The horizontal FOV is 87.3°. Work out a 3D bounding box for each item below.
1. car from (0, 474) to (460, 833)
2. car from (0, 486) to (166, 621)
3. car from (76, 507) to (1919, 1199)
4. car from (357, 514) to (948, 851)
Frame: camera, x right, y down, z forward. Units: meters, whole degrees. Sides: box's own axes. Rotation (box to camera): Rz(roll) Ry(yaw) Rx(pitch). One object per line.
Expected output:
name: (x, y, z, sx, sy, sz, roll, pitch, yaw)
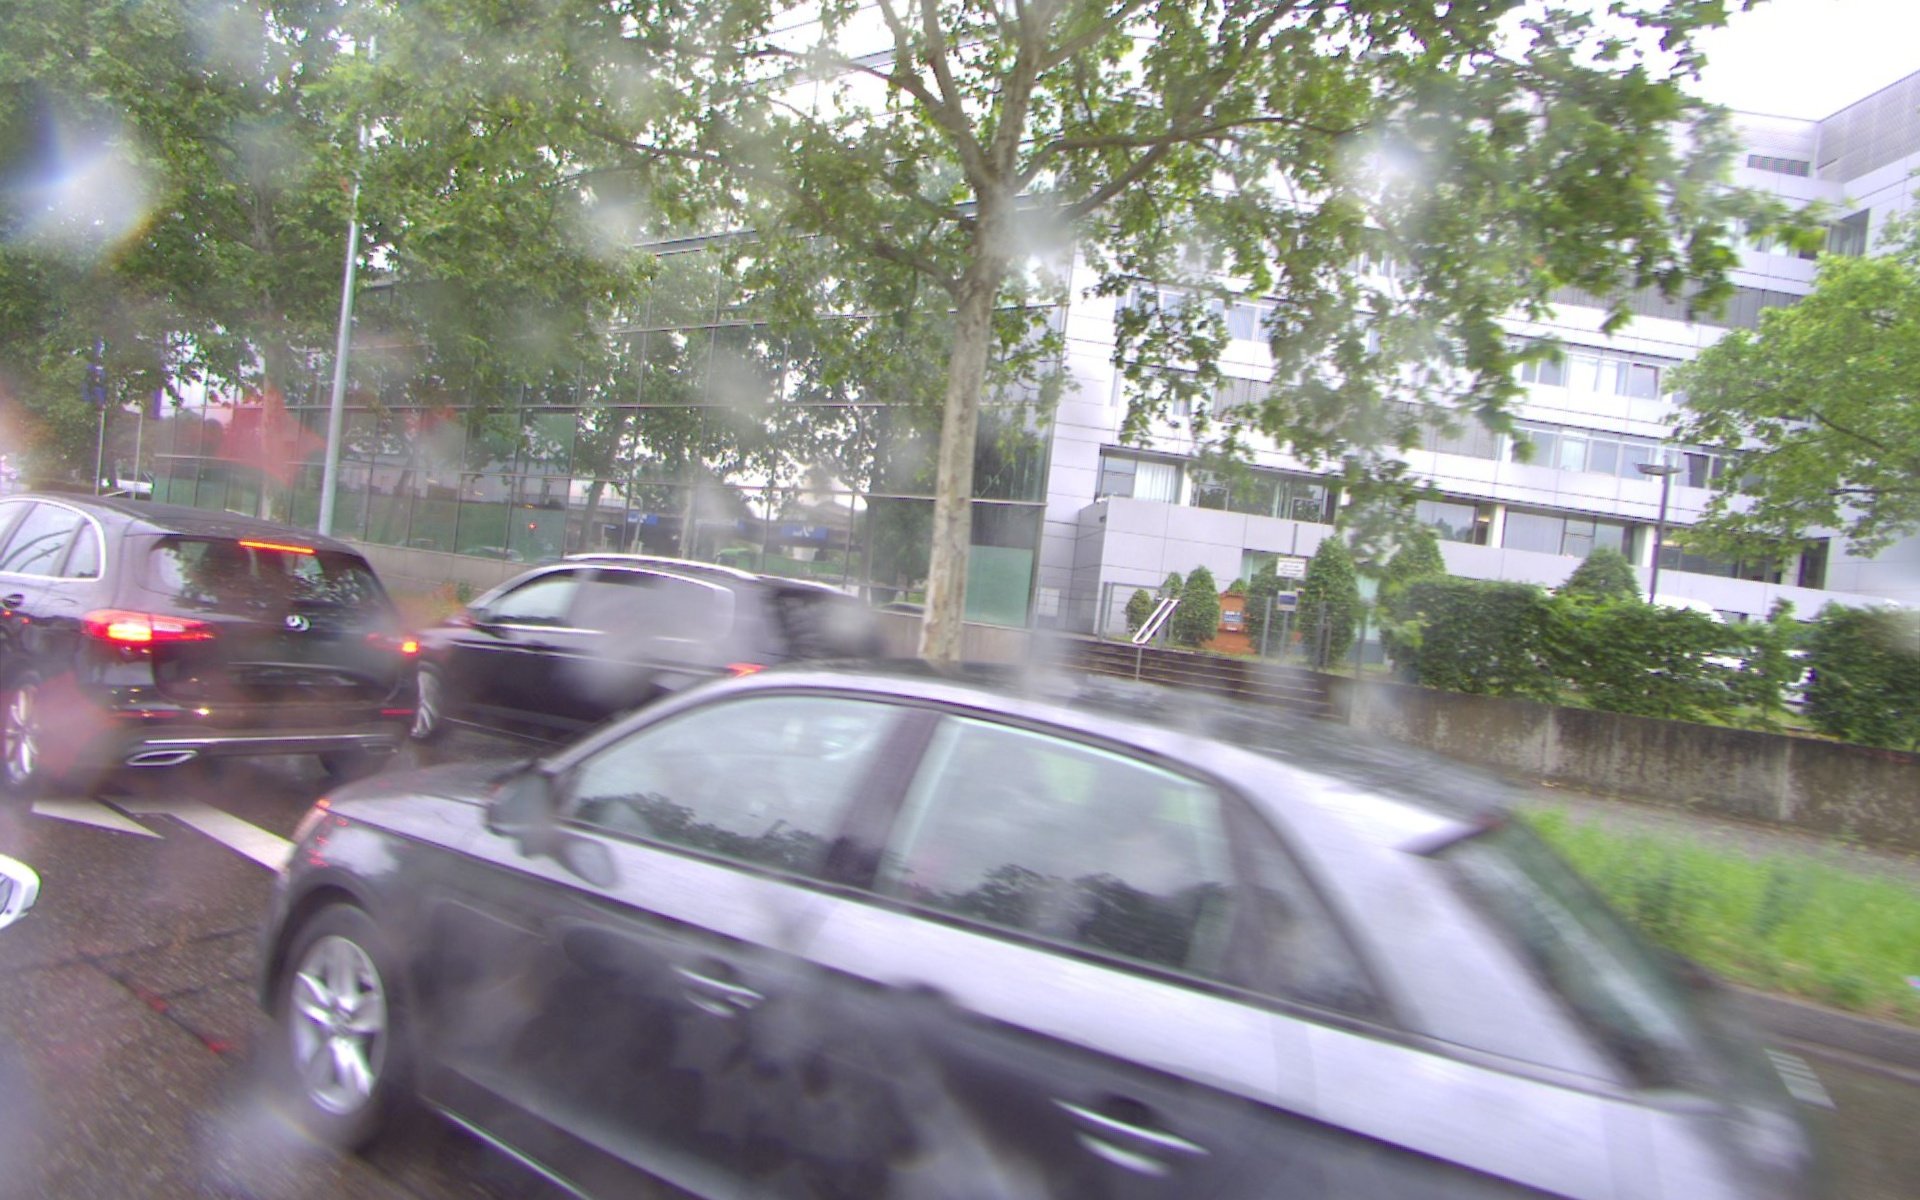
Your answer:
car: (-5.211, 0.122, 6.290, 3.932, 1.568, 1.712, 8, 0, 30)
car: (-13.275, -0.753, 14.167, 4.042, 1.554, 1.843, 6, -2, 31)
car: (-0.246, 0.747, 2.748, 3.932, 1.469, 1.998, 6, -2, 30)
car: (-2.415, 0.473, 7.669, 4.120, 1.746, 1.860, 6, -1, 30)
